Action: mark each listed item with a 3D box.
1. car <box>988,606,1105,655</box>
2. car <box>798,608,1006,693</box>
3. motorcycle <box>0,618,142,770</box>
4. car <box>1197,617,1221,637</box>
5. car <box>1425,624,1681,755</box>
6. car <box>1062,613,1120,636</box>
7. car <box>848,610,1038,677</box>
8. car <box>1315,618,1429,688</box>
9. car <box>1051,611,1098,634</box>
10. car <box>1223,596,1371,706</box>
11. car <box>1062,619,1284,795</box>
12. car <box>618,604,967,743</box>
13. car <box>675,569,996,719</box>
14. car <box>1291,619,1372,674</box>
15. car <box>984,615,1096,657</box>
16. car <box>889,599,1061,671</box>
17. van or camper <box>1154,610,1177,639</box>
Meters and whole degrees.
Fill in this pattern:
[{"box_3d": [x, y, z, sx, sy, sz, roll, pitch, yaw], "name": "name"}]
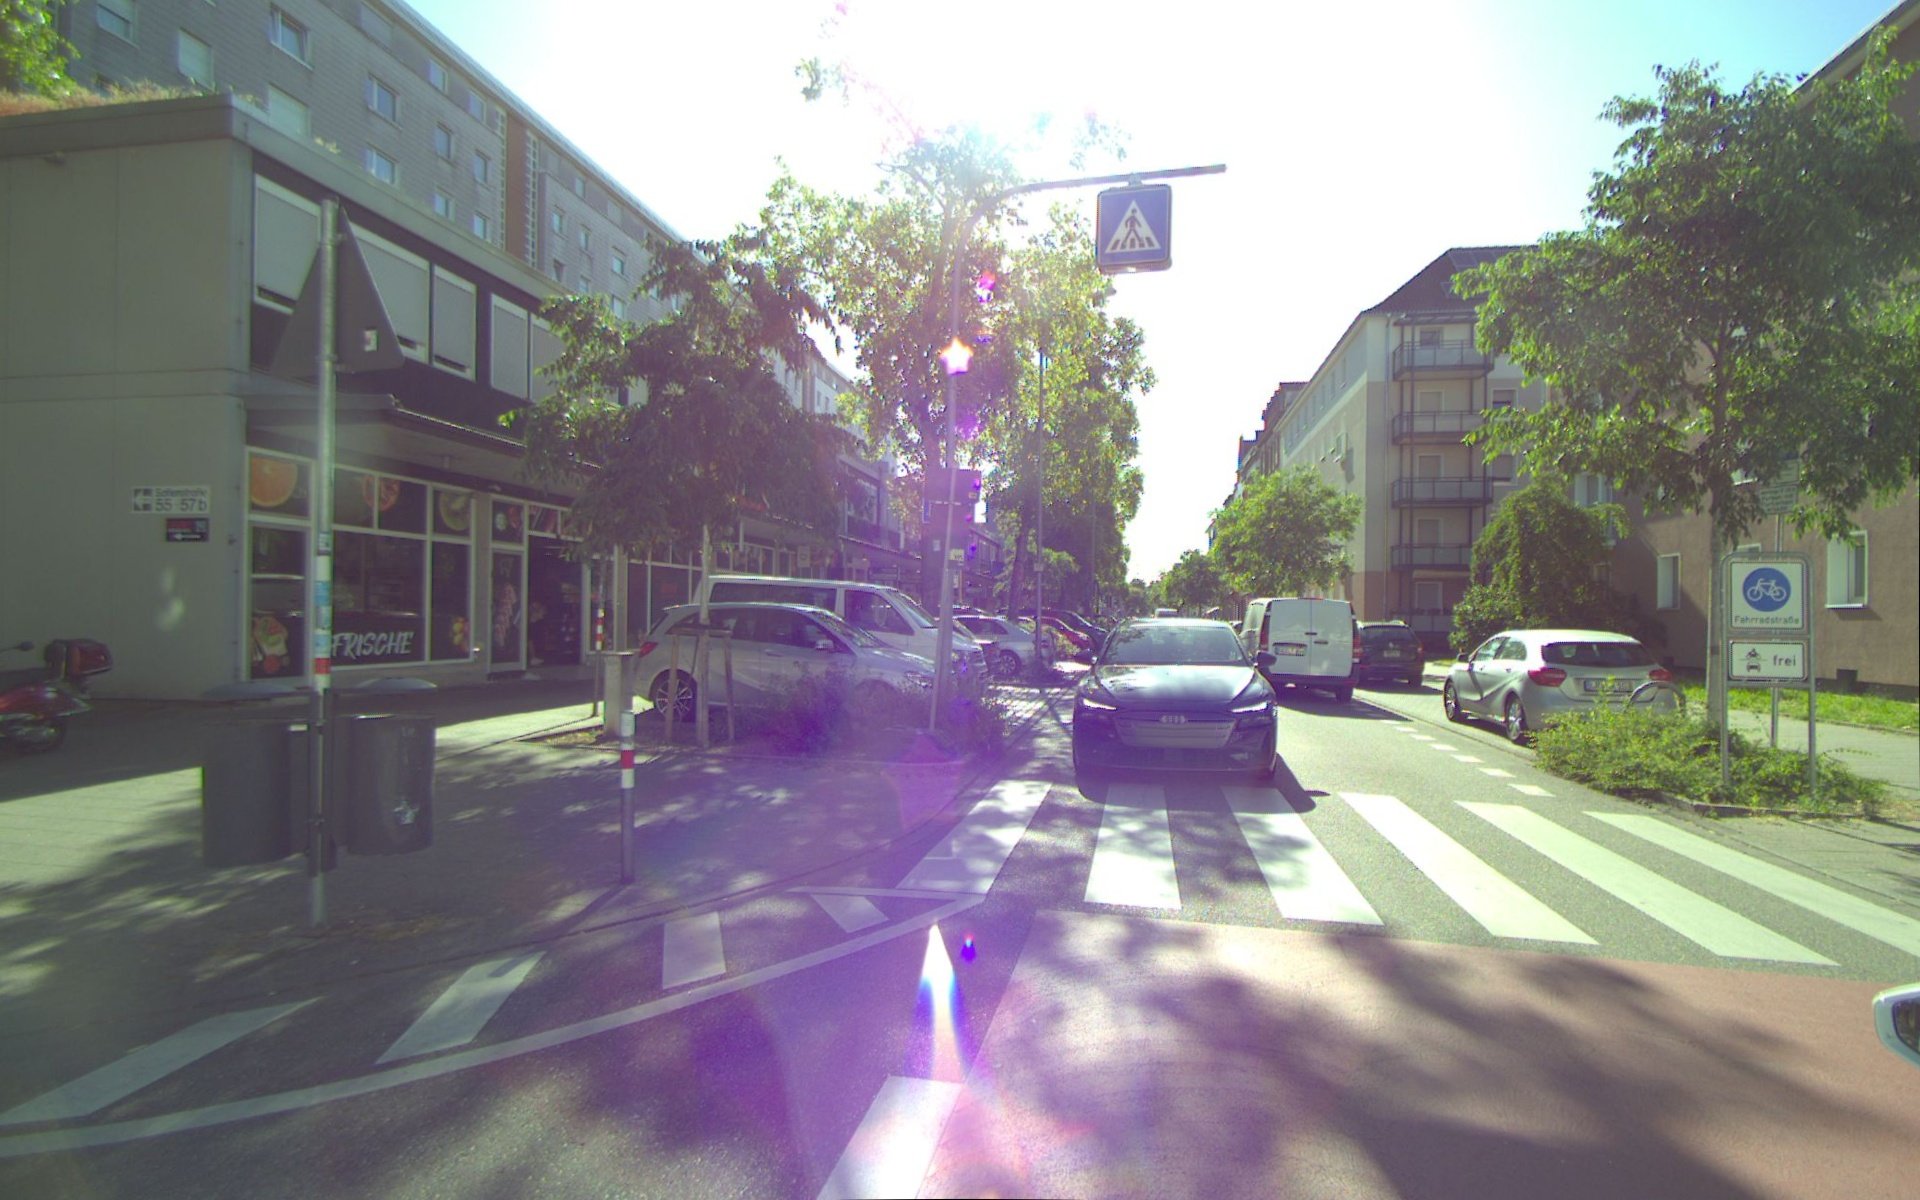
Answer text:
[{"box_3d": [3.915, 1.349, 45.167, 5.123, 2.007, 1.663, 1, -1, 10], "name": "car"}, {"box_3d": [-1.154, 1.009, 20.790, 3.961, 1.513, 1.718, 2, 0, 10], "name": "car"}, {"box_3d": [-8.101, 0.782, 8.444, 0.656, 1.196, 1.923, 1, 1, 11], "name": "motorcycle"}, {"box_3d": [19.760, 2.134, 79.793, 1.710, 1.539, 3.860, 1, -1, 11], "name": "car"}, {"box_3d": [7.971, 1.103, 13.978, 1.710, 1.473, 4.158, 1, -1, 10], "name": "car"}, {"box_3d": [12.051, 2.264, 92.214, 5.123, 2.007, 1.663, 1, -1, 10], "name": "car"}, {"box_3d": [-0.377, 1.076, 25.594, 4.576, 1.513, 1.829, 1, -1, 9], "name": "car"}, {"box_3d": [9.827, 1.224, 24.278, 1.752, 1.539, 4.312, 0, -1, 11], "name": "car"}, {"box_3d": [7.745, 1.527, 68.066, 3.046, 1.427, 1.663, 1, -1, 10], "name": "car"}, {"box_3d": [6.737, 0.936, 20.710, 2.065, 1.933, 5.428, 1, -1, 10], "name": "car"}, {"box_3d": [2.388, 0.951, 10.910, 1.877, 1.473, 4.580, 0, -1, 14], "name": "car"}, {"box_3d": [-2.145, 0.903, 13.376, 4.216, 1.634, 1.759, 1, -1, 10], "name": "car"}, {"box_3d": [-1.880, 0.642, 15.985, 4.649, 2.033, 1.961, 2, 0, 9], "name": "car"}, {"box_3d": [11.151, 1.353, 30.370, 1.710, 1.539, 3.860, 1, -1, 11], "name": "car"}, {"box_3d": [3.416, 1.502, 42.635, 4.547, 1.632, 1.663, 1, -1, 10], "name": "car"}, {"box_3d": [0.458, 0.954, 28.134, 4.547, 1.828, 1.838, 1, -1, 10], "name": "car"}, {"box_3d": [18.784, 2.197, 91.819, 1.959, 2.508, 5.824, 0, -1, 11], "name": "van or camper"}]
